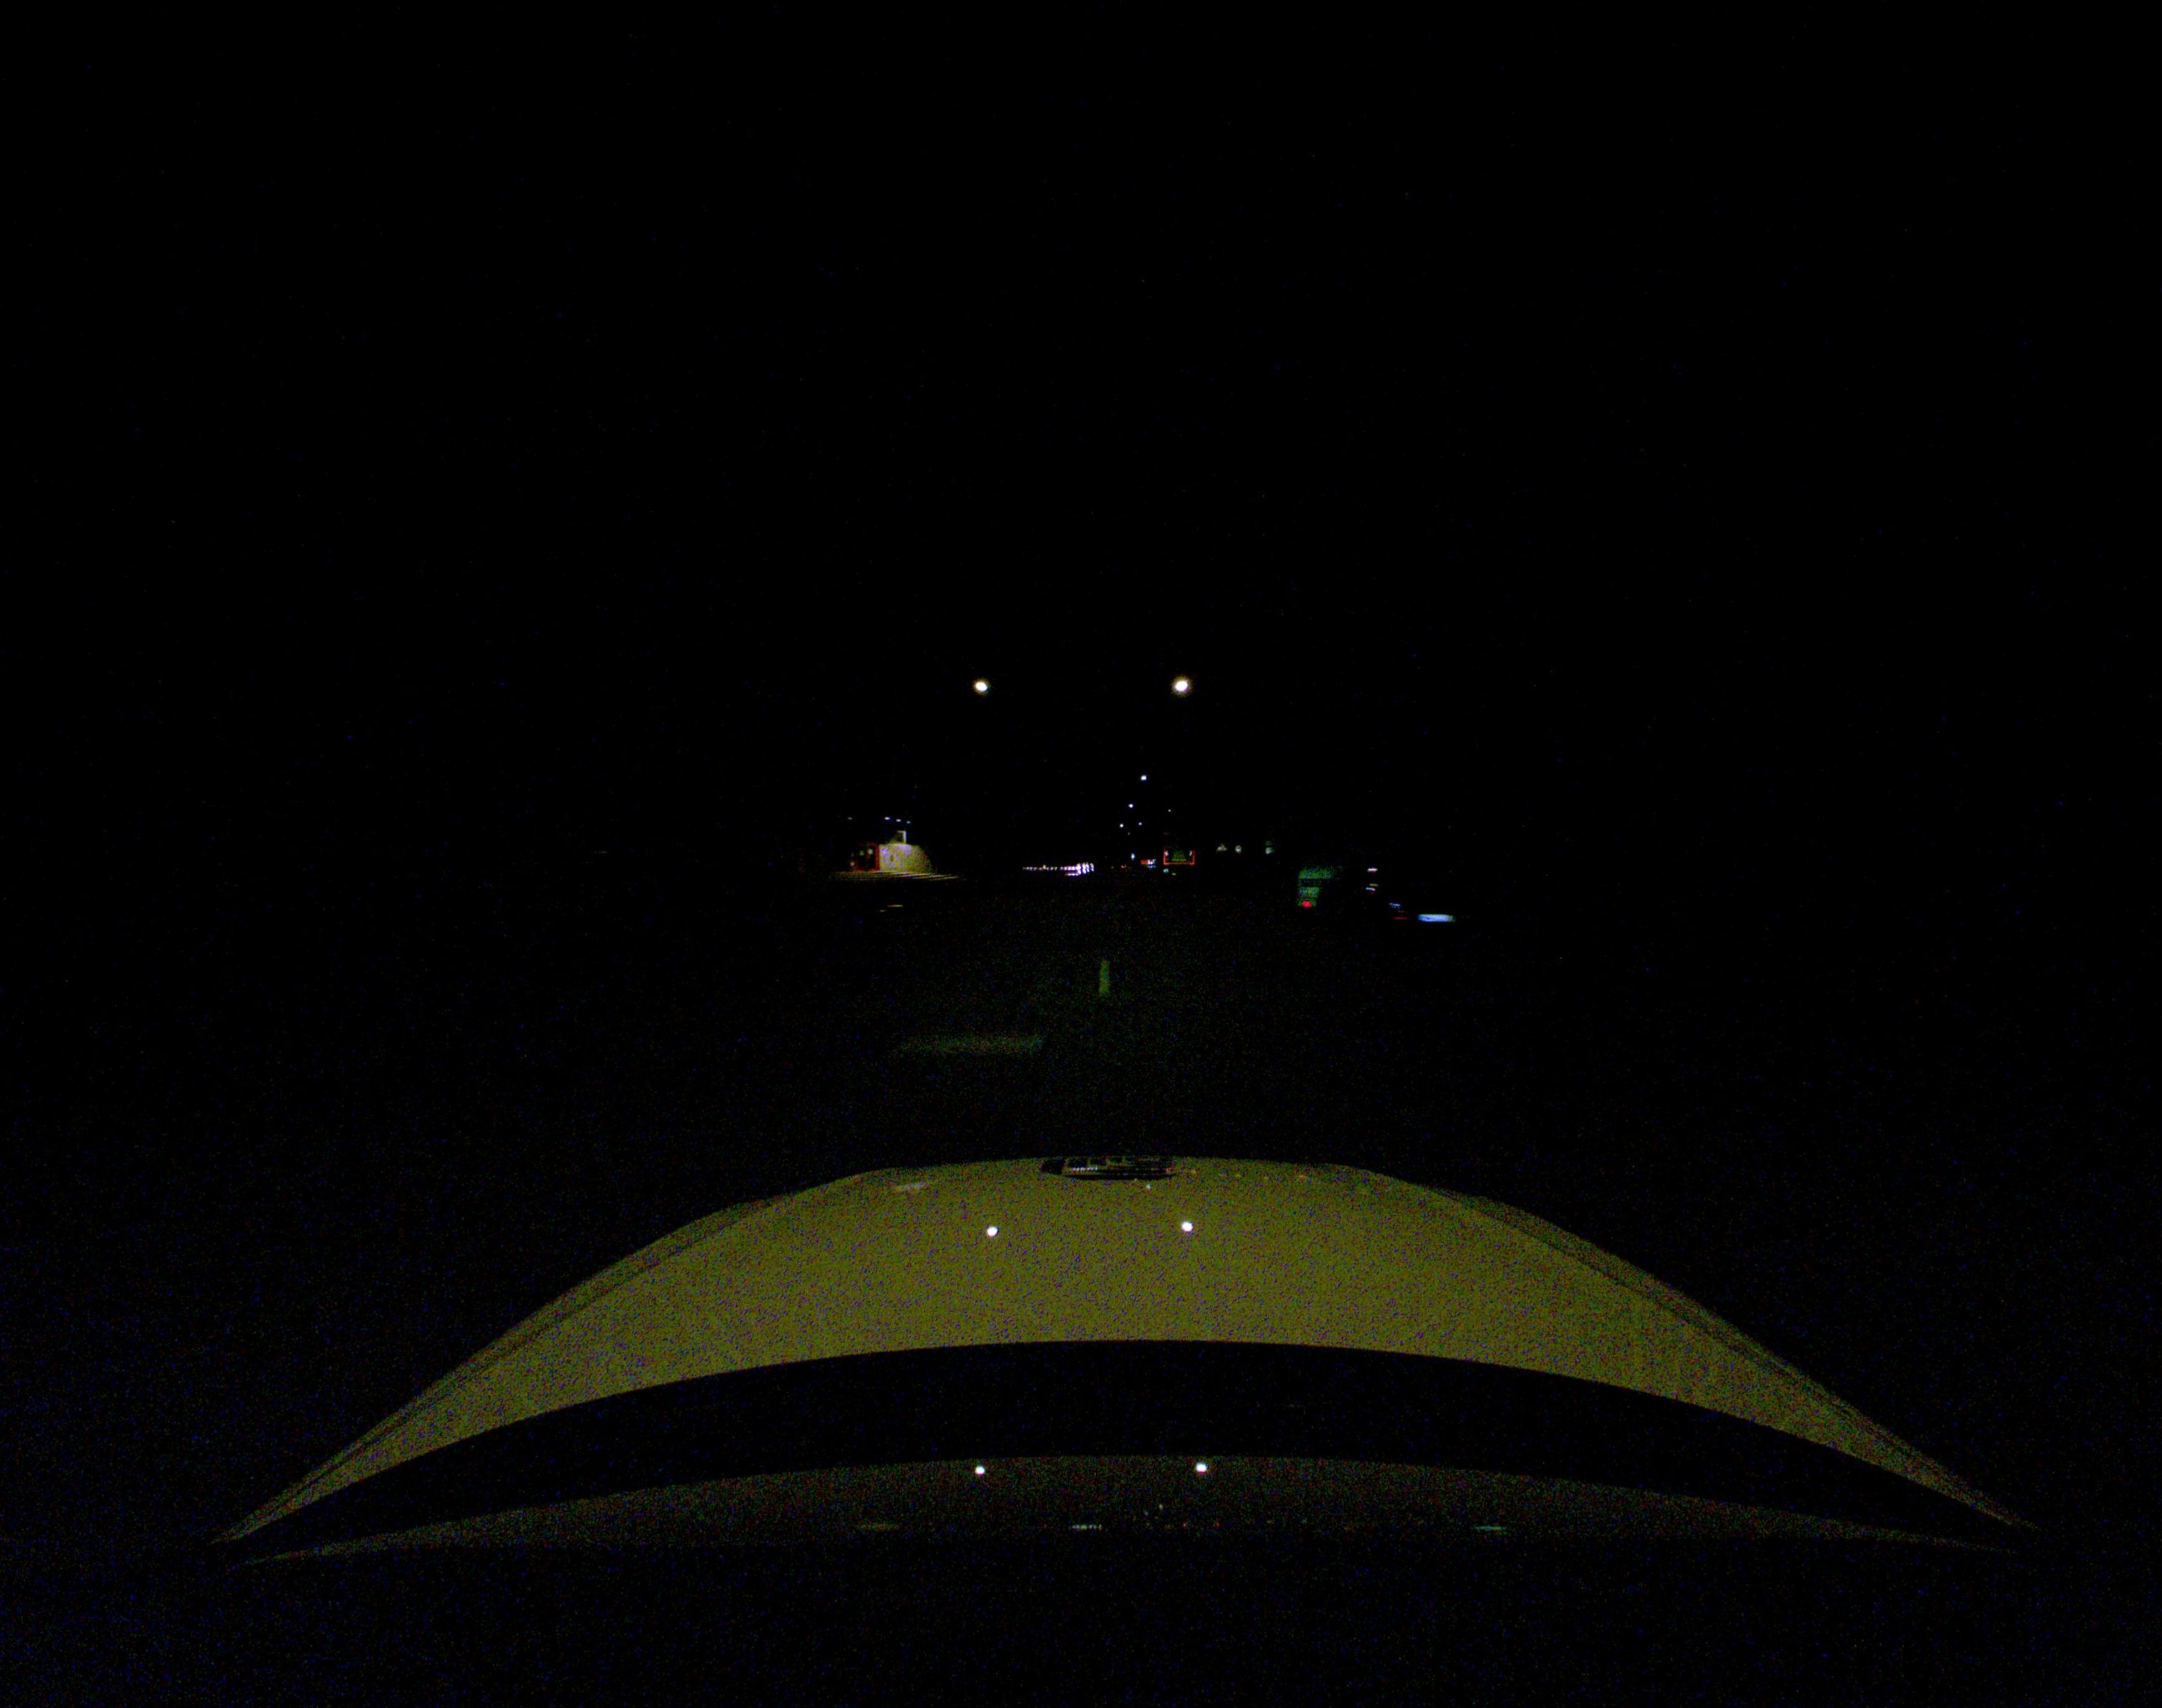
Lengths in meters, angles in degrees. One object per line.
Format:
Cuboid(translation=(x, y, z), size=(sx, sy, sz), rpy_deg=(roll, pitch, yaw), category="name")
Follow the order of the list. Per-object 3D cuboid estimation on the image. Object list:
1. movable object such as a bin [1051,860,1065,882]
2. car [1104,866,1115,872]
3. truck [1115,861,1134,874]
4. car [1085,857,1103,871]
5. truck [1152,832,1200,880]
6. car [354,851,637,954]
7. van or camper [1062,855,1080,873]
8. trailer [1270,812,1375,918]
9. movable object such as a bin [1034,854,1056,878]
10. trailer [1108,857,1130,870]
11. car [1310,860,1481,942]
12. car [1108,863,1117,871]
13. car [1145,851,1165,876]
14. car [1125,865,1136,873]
Cuboid(translation=(-3.067, 2.254, 107.826), size=(1.568, 2.734, 3.695), rpy_deg=(-4, 0, -5), category="movable object such as a bin")
Cuboid(translation=(7.506, 4.005, 215.967), size=(1.978, 1.700, 4.224), rpy_deg=(-1, -2, 17), category="car")
Cuboid(translation=(12.274, 3.809, 229.086), size=(1.975, 3.404, 9.032), rpy_deg=(-1, 0, 26), category="truck")
Cuboid(translation=(3.250, 2.509, 199.970), size=(2.500, 3.171, 7.167), rpy_deg=(-4, -1, 16), category="car")
Cuboid(translation=(8.104, 0.188, 70.786), size=(3.311, 3.868, 9.331), rpy_deg=(-1, -1, 2), category="truck")
Cuboid(translation=(-12.022, 0.946, 16.961), size=(4.416, 1.972, 2.001), rpy_deg=(-1, 0, 1), category="car")
Cuboid(translation=(-1.701, 1.759, 145.573), size=(2.508, 3.094, 7.451), rpy_deg=(-3, -1, 3), category="van or camper")
Cuboid(translation=(6.536, 0.277, 22.466), size=(1.984, 2.651, 4.005), rpy_deg=(-1, 0, 5), category="trailer")
Cuboid(translation=(-3.891, 1.276, 88.152), size=(1.553, 2.467, 2.821), rpy_deg=(-2, -1, -19), category="movable object such as a bin")
Cuboid(translation=(6.892, 1.798, 148.380), size=(1.567, 2.161, 5.177), rpy_deg=(-2, -1, -25), category="trailer")
Cuboid(translation=(6.200, 0.839, 16.671), size=(1.721, 1.386, 4.676), rpy_deg=(-1, 0, 0), category="car")
Cuboid(translation=(6.397, 2.640, 163.341), size=(1.714, 1.661, 4.002), rpy_deg=(-1, -2, 3), category="car")
Cuboid(translation=(7.978, 0.984, 88.337), size=(2.099, 2.516, 6.379), rpy_deg=(-1, 0, 5), category="car")
Cuboid(translation=(11.619, 3.519, 191.727), size=(1.707, 1.821, 4.017), rpy_deg=(-1, -2, 17), category="car")
